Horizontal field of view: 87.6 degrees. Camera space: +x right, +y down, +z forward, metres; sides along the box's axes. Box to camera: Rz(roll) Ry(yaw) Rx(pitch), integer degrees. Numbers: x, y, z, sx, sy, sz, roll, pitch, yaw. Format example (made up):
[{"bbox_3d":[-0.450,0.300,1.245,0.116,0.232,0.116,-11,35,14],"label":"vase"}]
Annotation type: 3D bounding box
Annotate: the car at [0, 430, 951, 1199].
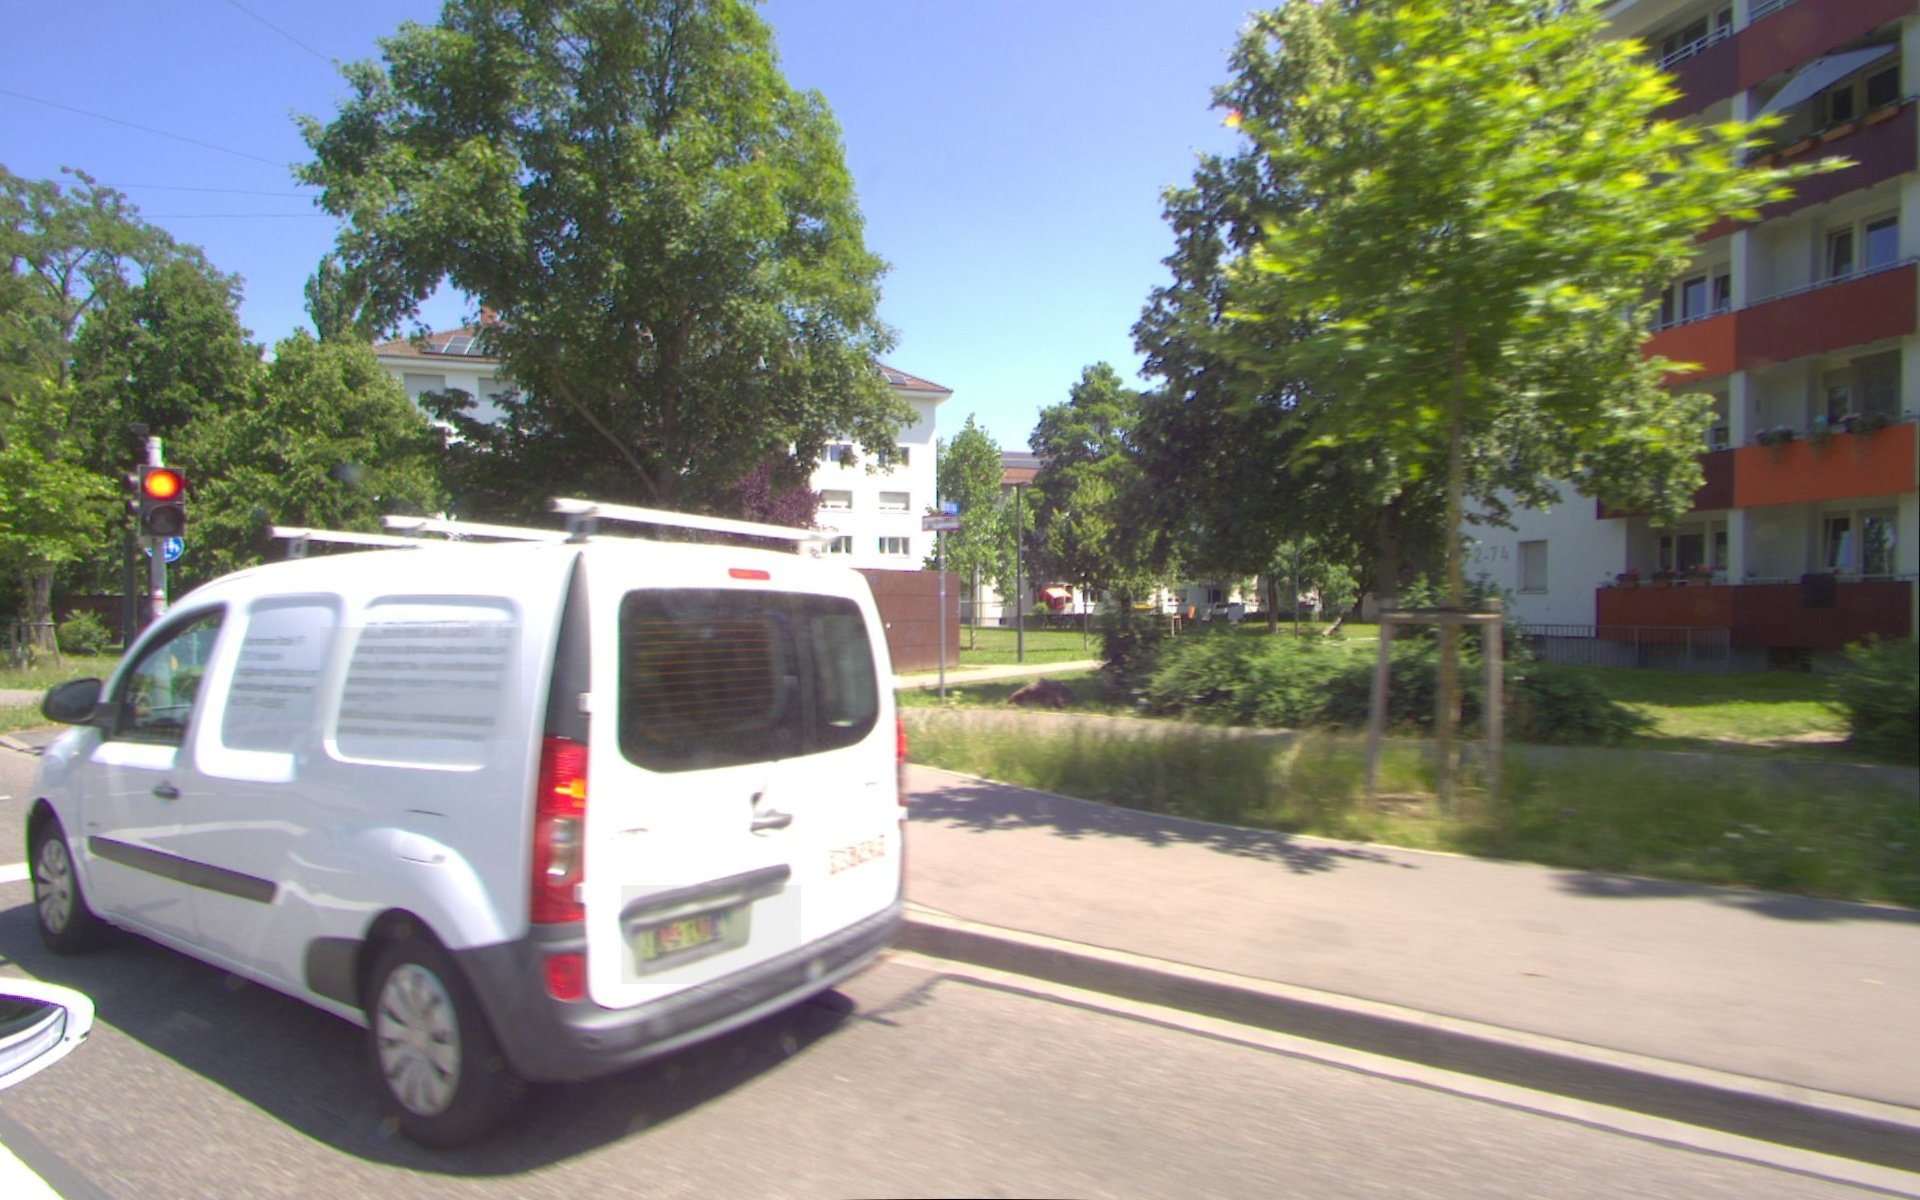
[{"bbox_3d":[-2.368,0.578,4.399,4.392,1.906,1.821,0,-1,33],"label":"car"}]
